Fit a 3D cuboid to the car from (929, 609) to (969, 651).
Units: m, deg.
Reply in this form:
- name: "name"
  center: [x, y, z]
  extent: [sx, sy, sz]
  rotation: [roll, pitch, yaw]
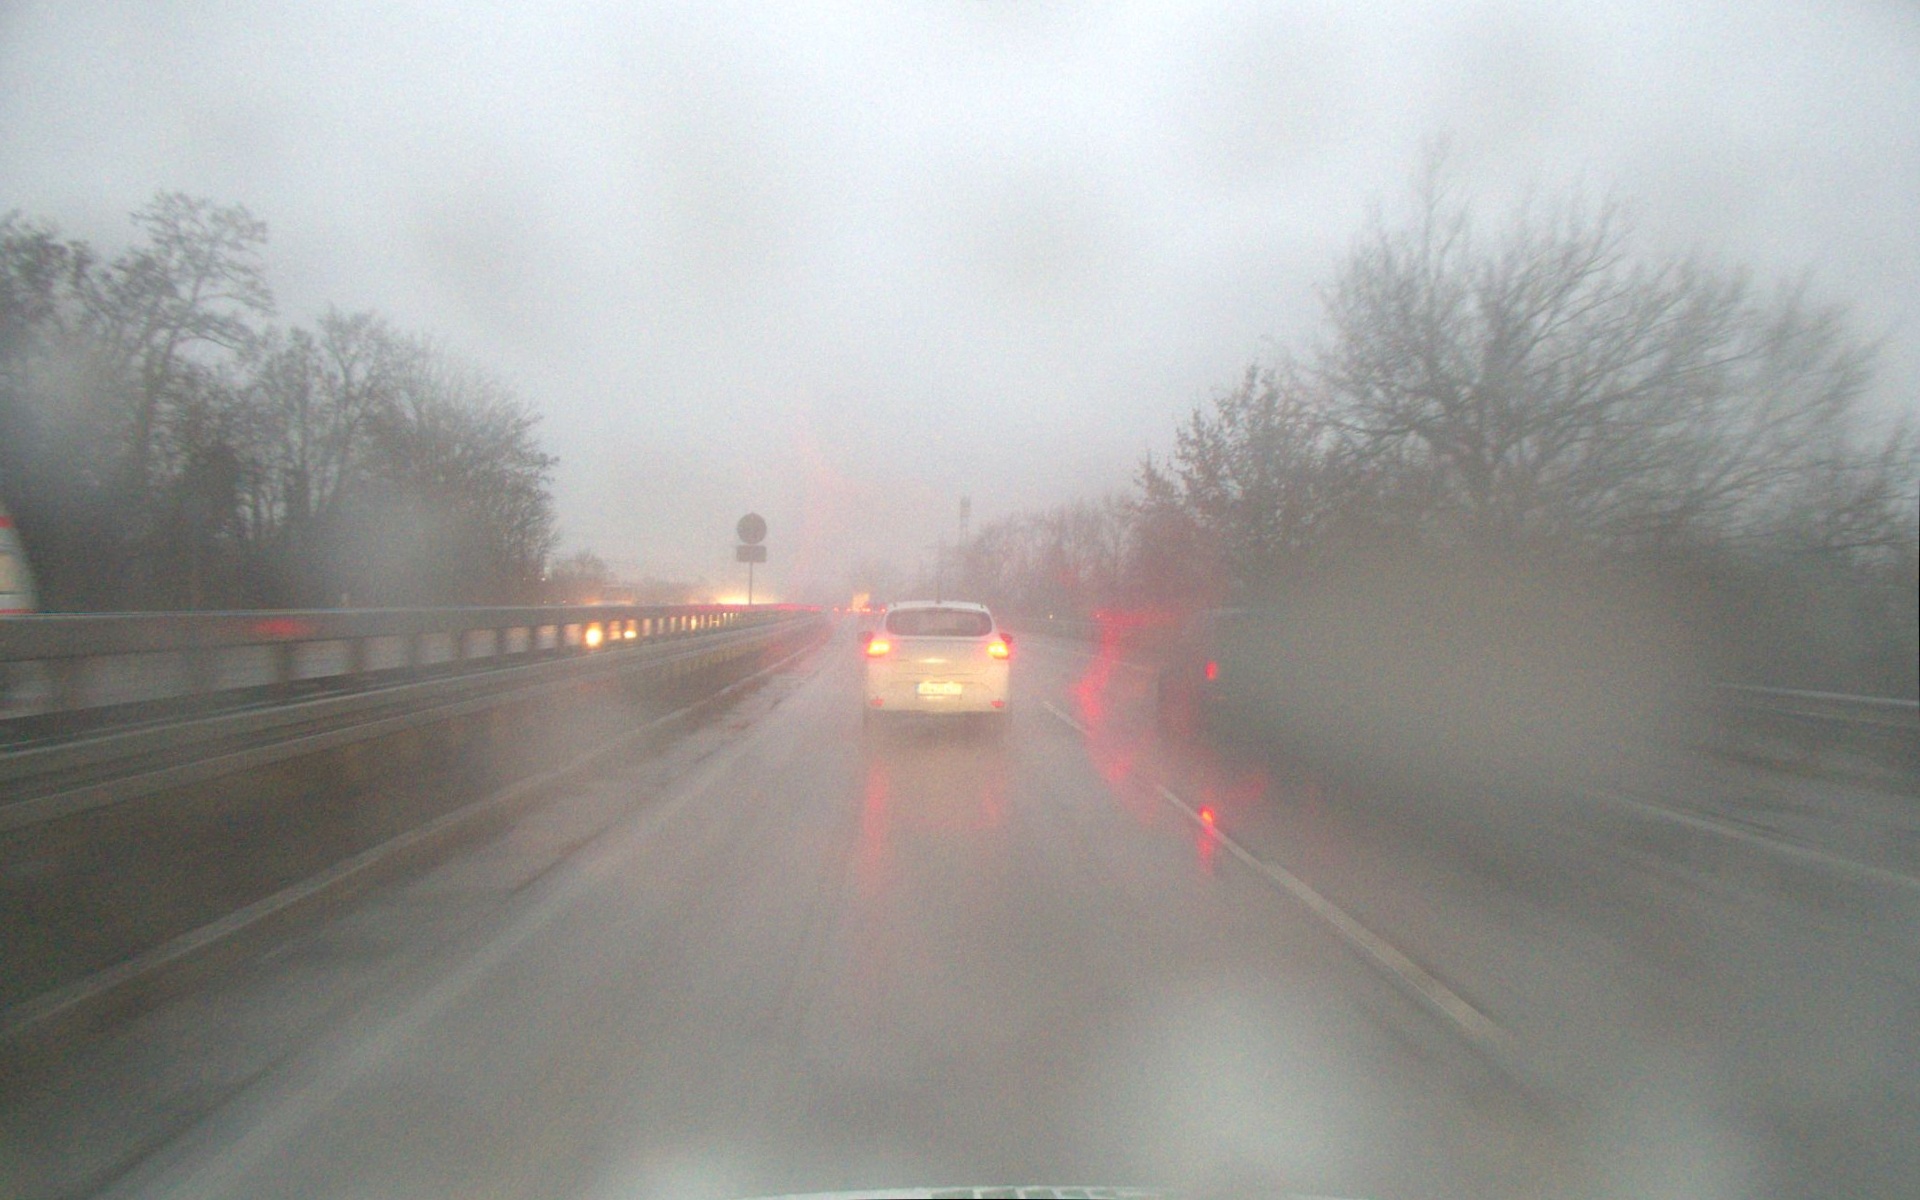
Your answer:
- name: "car"
  center: [-0.594, 1.564, 85.893]
  extent: [1.837, 1.936, 3.998]
  rotation: [7, -2, -1]

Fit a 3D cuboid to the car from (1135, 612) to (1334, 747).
- name: "car"
  center: [3.384, 0.933, 21.133]
  extent: [1.808, 1.479, 4.148]
  rotation: [1, 0, 0]

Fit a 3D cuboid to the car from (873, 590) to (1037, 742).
- name: "car"
  center: [-0.065, 0.739, 20.414]
  extent: [1.808, 1.664, 3.767]
  rotation: [1, 0, 0]

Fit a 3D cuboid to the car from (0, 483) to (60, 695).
- name: "car"
  center: [-12.099, -0.141, 17.820]
  extent: [1.808, 2.479, 5.415]
  rotation: [1, 0, 0]

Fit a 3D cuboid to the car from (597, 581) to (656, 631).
- name: "car"
  center: [-14.163, 0.290, 70.449]
  extent: [1.897, 2.007, 4.532]
  rotation: [2, -1, -5]
